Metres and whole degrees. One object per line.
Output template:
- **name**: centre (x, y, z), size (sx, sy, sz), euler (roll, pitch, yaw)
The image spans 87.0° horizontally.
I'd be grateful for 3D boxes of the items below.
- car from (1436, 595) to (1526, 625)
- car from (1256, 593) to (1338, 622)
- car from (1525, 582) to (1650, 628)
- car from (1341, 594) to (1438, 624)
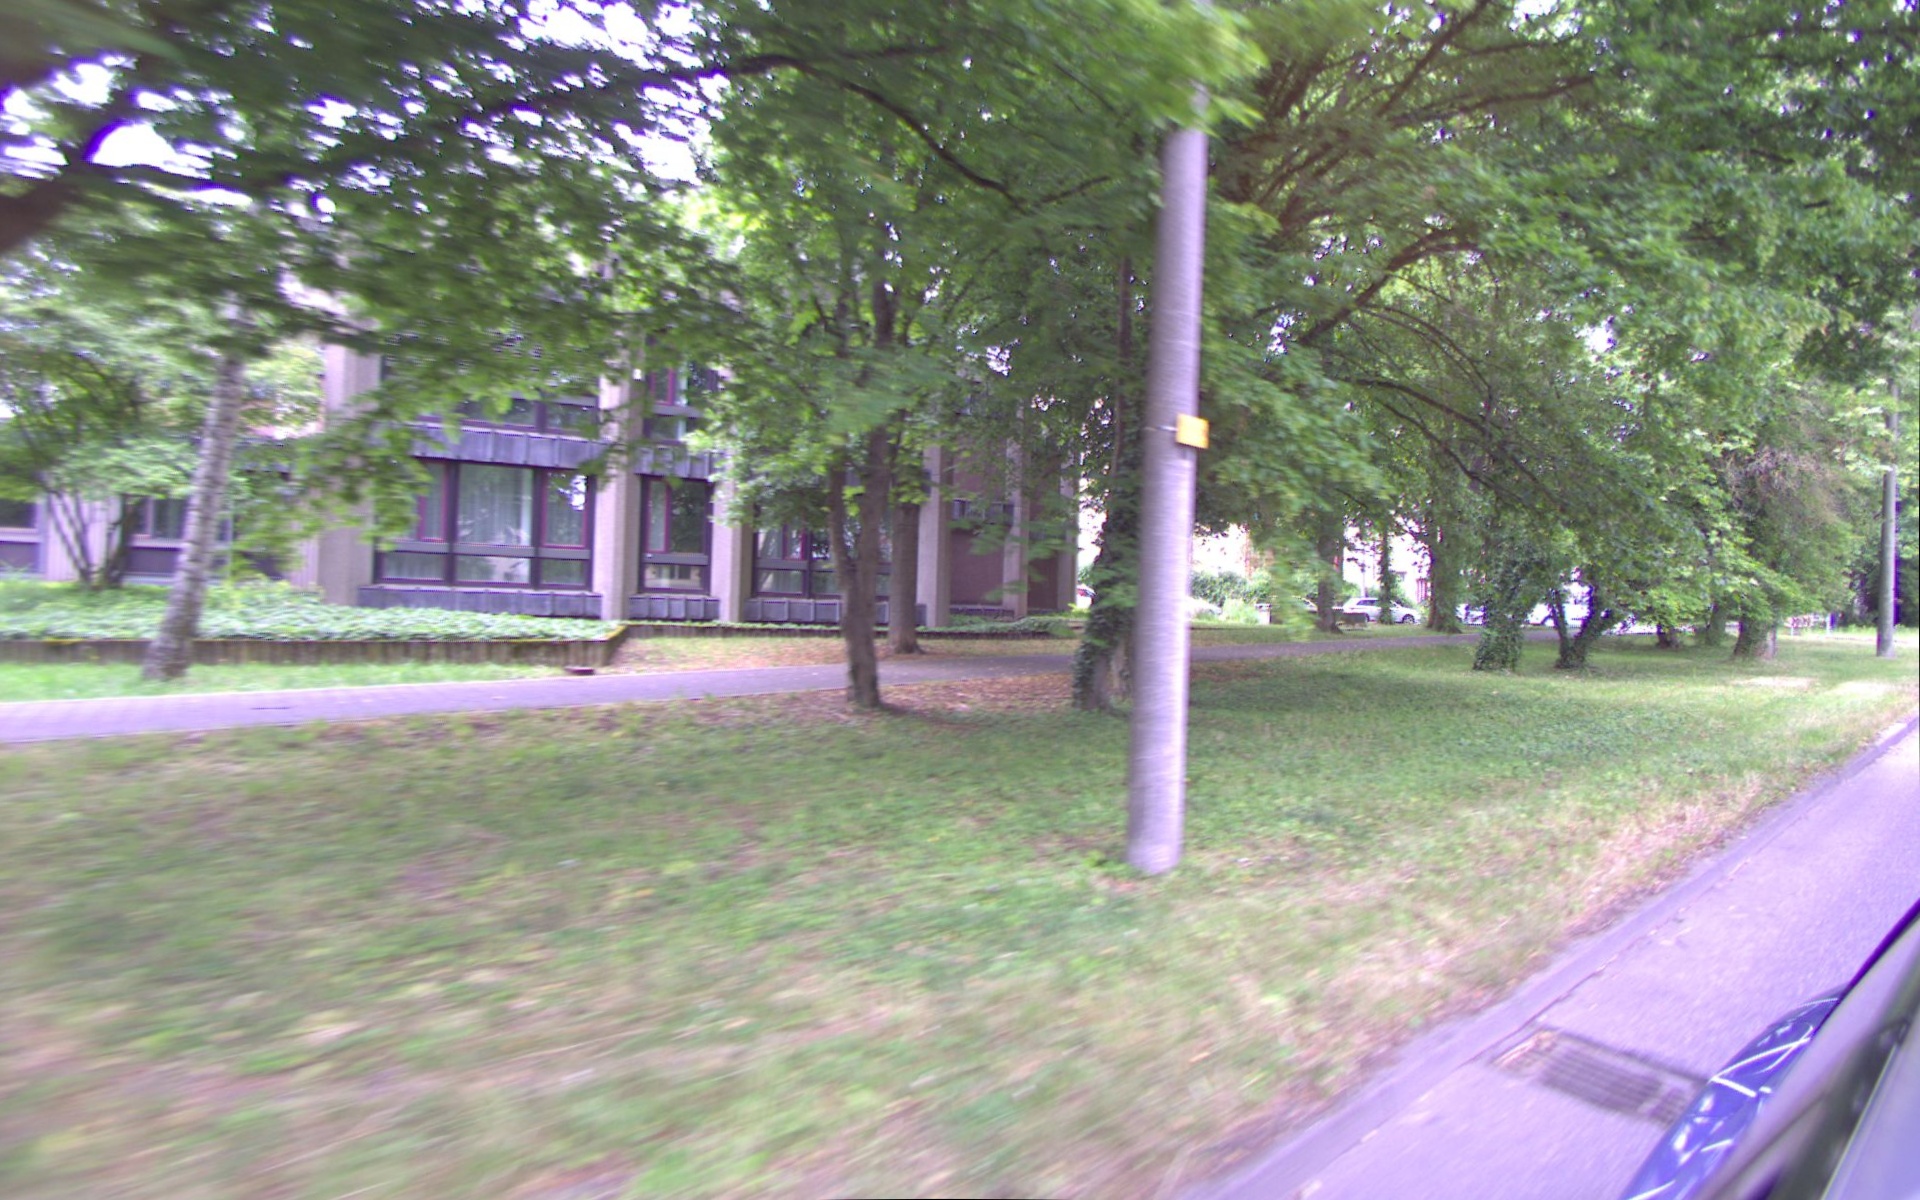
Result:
- **car**: centre (28.394, 0.559, 55.276), size (3.933, 1.529, 1.796), euler (1, 0, 8)
- **car**: centre (18.599, 0.399, 56.005), size (3.924, 1.529, 1.800), euler (1, 0, 0)
- **car**: centre (33.617, 0.237, 54.398), size (5.249, 2.328, 2.282), euler (1, 0, 15)
- **car**: centre (23.504, 0.468, 55.550), size (4.519, 1.529, 1.799), euler (1, 0, 3)
